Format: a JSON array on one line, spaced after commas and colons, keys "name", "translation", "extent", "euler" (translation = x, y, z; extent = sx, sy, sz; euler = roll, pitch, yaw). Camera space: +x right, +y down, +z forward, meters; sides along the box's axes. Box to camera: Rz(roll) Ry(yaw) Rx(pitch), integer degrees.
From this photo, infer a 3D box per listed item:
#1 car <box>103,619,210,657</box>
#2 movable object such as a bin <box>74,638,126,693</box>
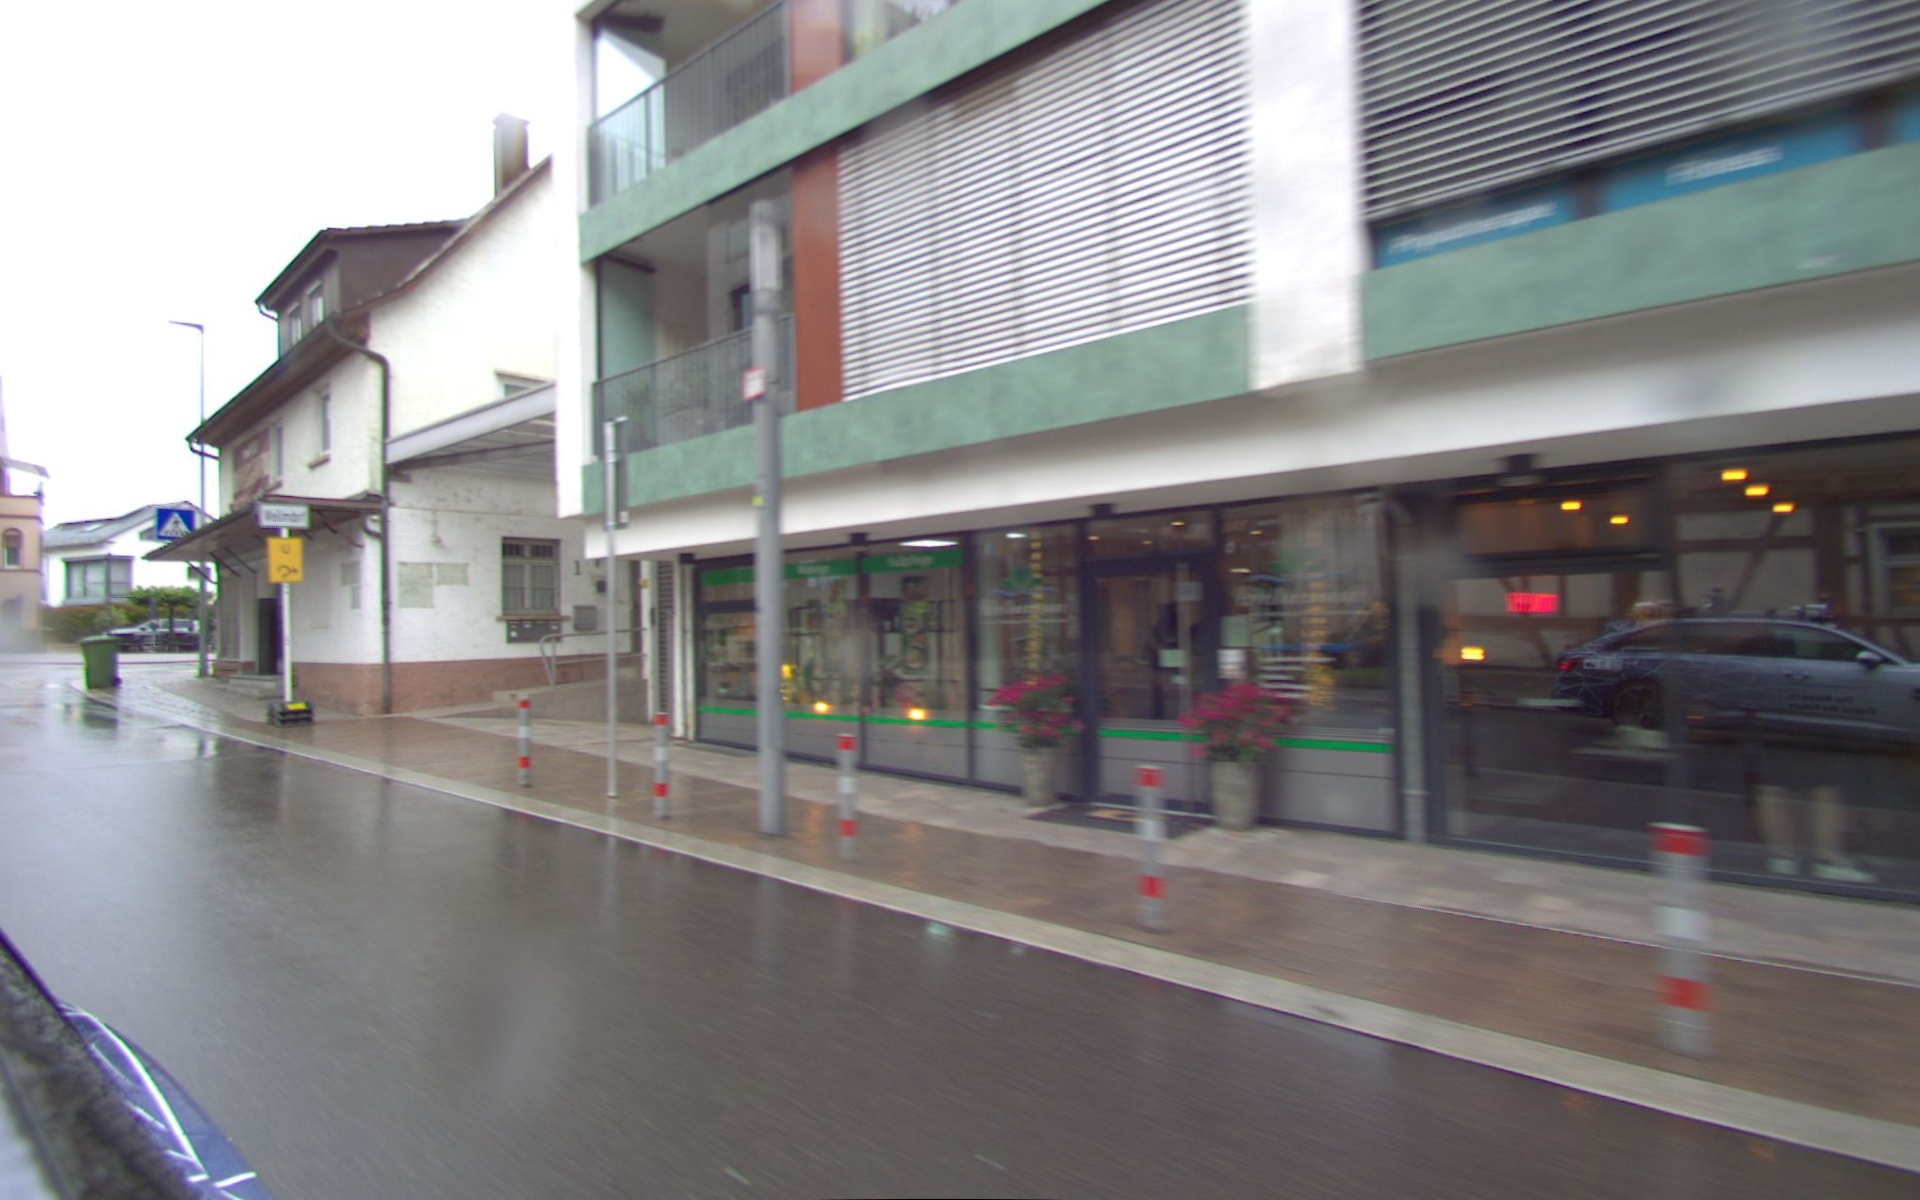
[{"name": "car", "translation": [-44.311, 2.142, 55.971], "extent": [4.413, 2.029, 2.005], "euler": [2, -3, -33]}, {"name": "movable object such as a bin", "translation": [-18.268, 1.375, 21.508], "extent": [0.760, 1.089, 0.680], "euler": [-1, 1, 38]}]
